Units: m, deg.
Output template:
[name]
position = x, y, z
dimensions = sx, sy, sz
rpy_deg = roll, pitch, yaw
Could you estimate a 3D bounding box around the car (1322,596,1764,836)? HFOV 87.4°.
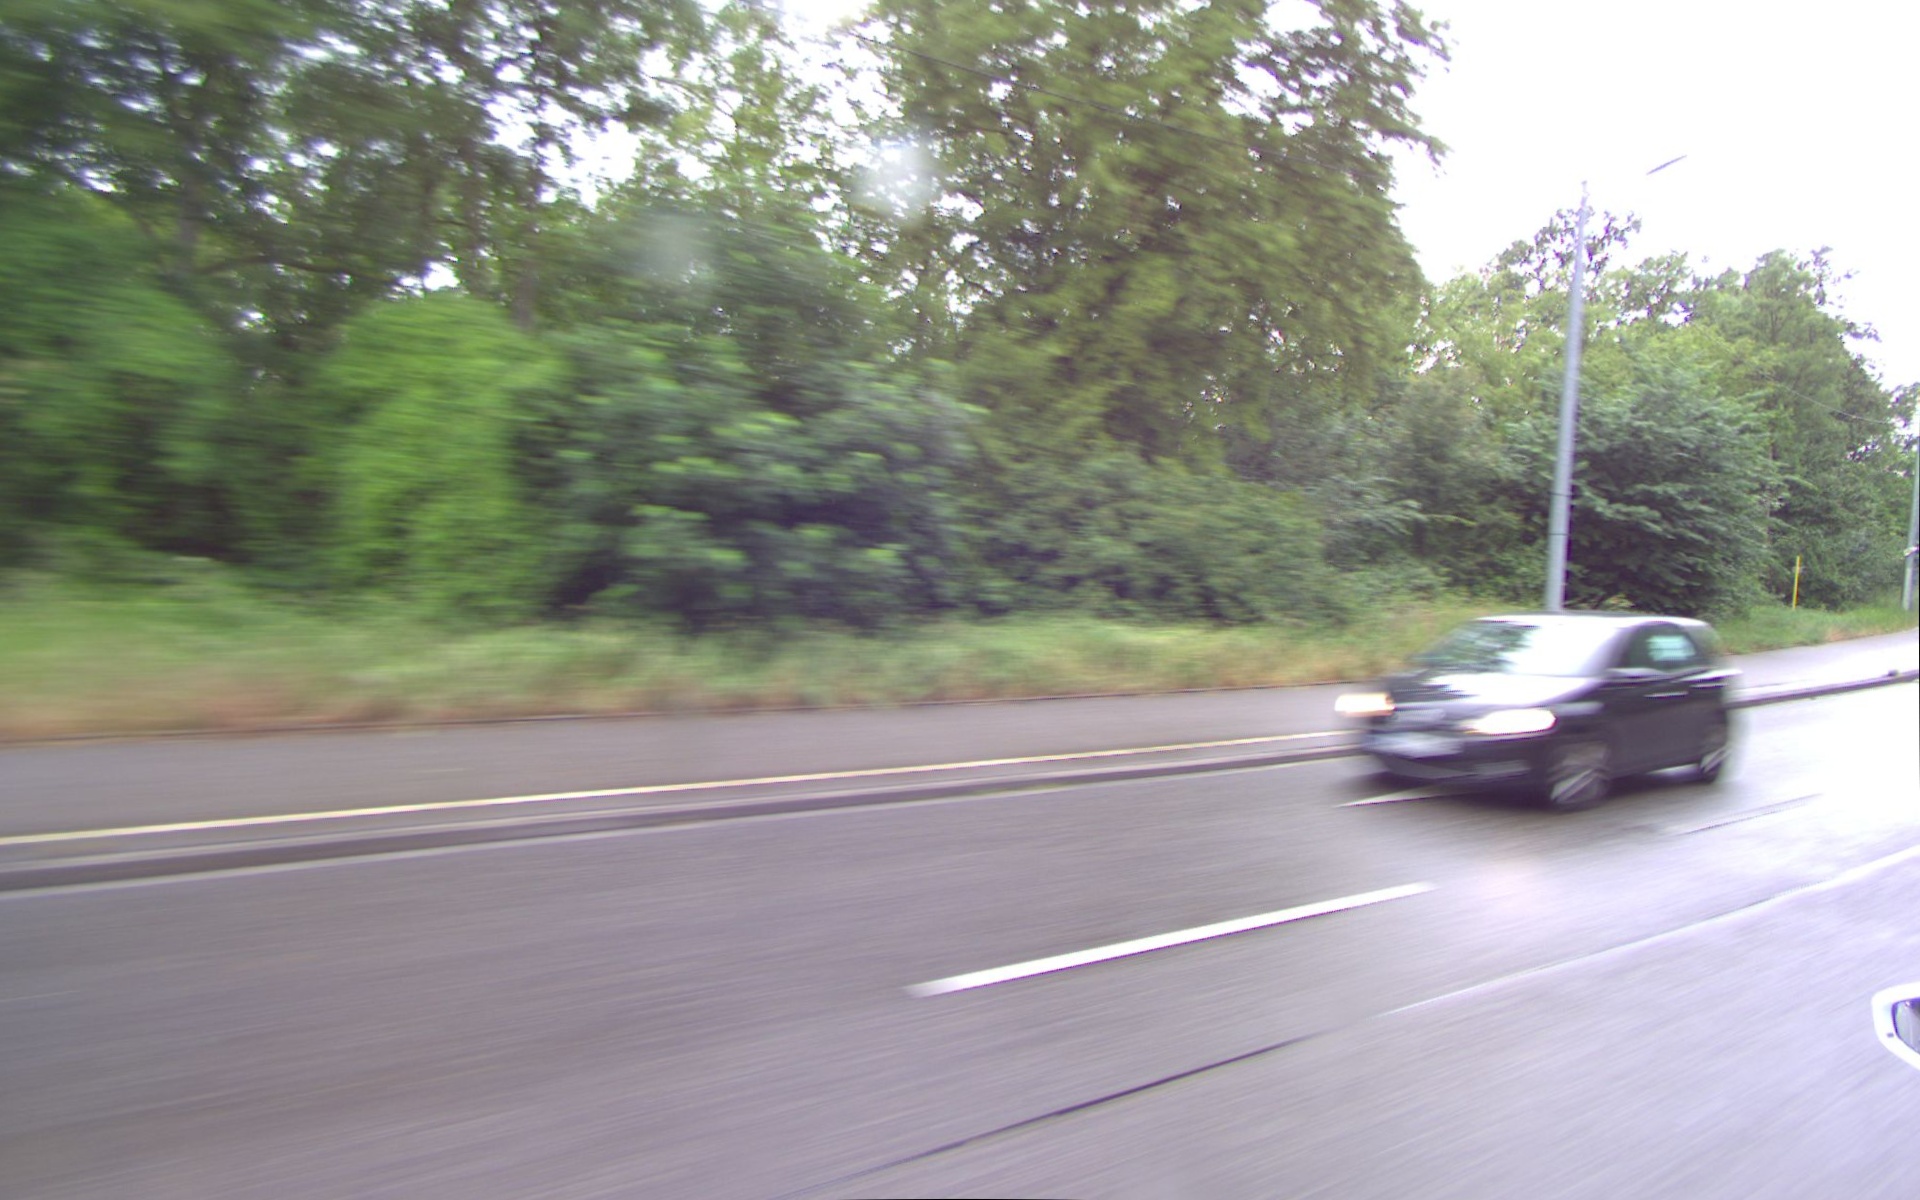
[car]
position = 5.192, 0.802, 8.812
dimensions = 3.957, 1.460, 1.816
rpy_deg = -3, 3, -34
